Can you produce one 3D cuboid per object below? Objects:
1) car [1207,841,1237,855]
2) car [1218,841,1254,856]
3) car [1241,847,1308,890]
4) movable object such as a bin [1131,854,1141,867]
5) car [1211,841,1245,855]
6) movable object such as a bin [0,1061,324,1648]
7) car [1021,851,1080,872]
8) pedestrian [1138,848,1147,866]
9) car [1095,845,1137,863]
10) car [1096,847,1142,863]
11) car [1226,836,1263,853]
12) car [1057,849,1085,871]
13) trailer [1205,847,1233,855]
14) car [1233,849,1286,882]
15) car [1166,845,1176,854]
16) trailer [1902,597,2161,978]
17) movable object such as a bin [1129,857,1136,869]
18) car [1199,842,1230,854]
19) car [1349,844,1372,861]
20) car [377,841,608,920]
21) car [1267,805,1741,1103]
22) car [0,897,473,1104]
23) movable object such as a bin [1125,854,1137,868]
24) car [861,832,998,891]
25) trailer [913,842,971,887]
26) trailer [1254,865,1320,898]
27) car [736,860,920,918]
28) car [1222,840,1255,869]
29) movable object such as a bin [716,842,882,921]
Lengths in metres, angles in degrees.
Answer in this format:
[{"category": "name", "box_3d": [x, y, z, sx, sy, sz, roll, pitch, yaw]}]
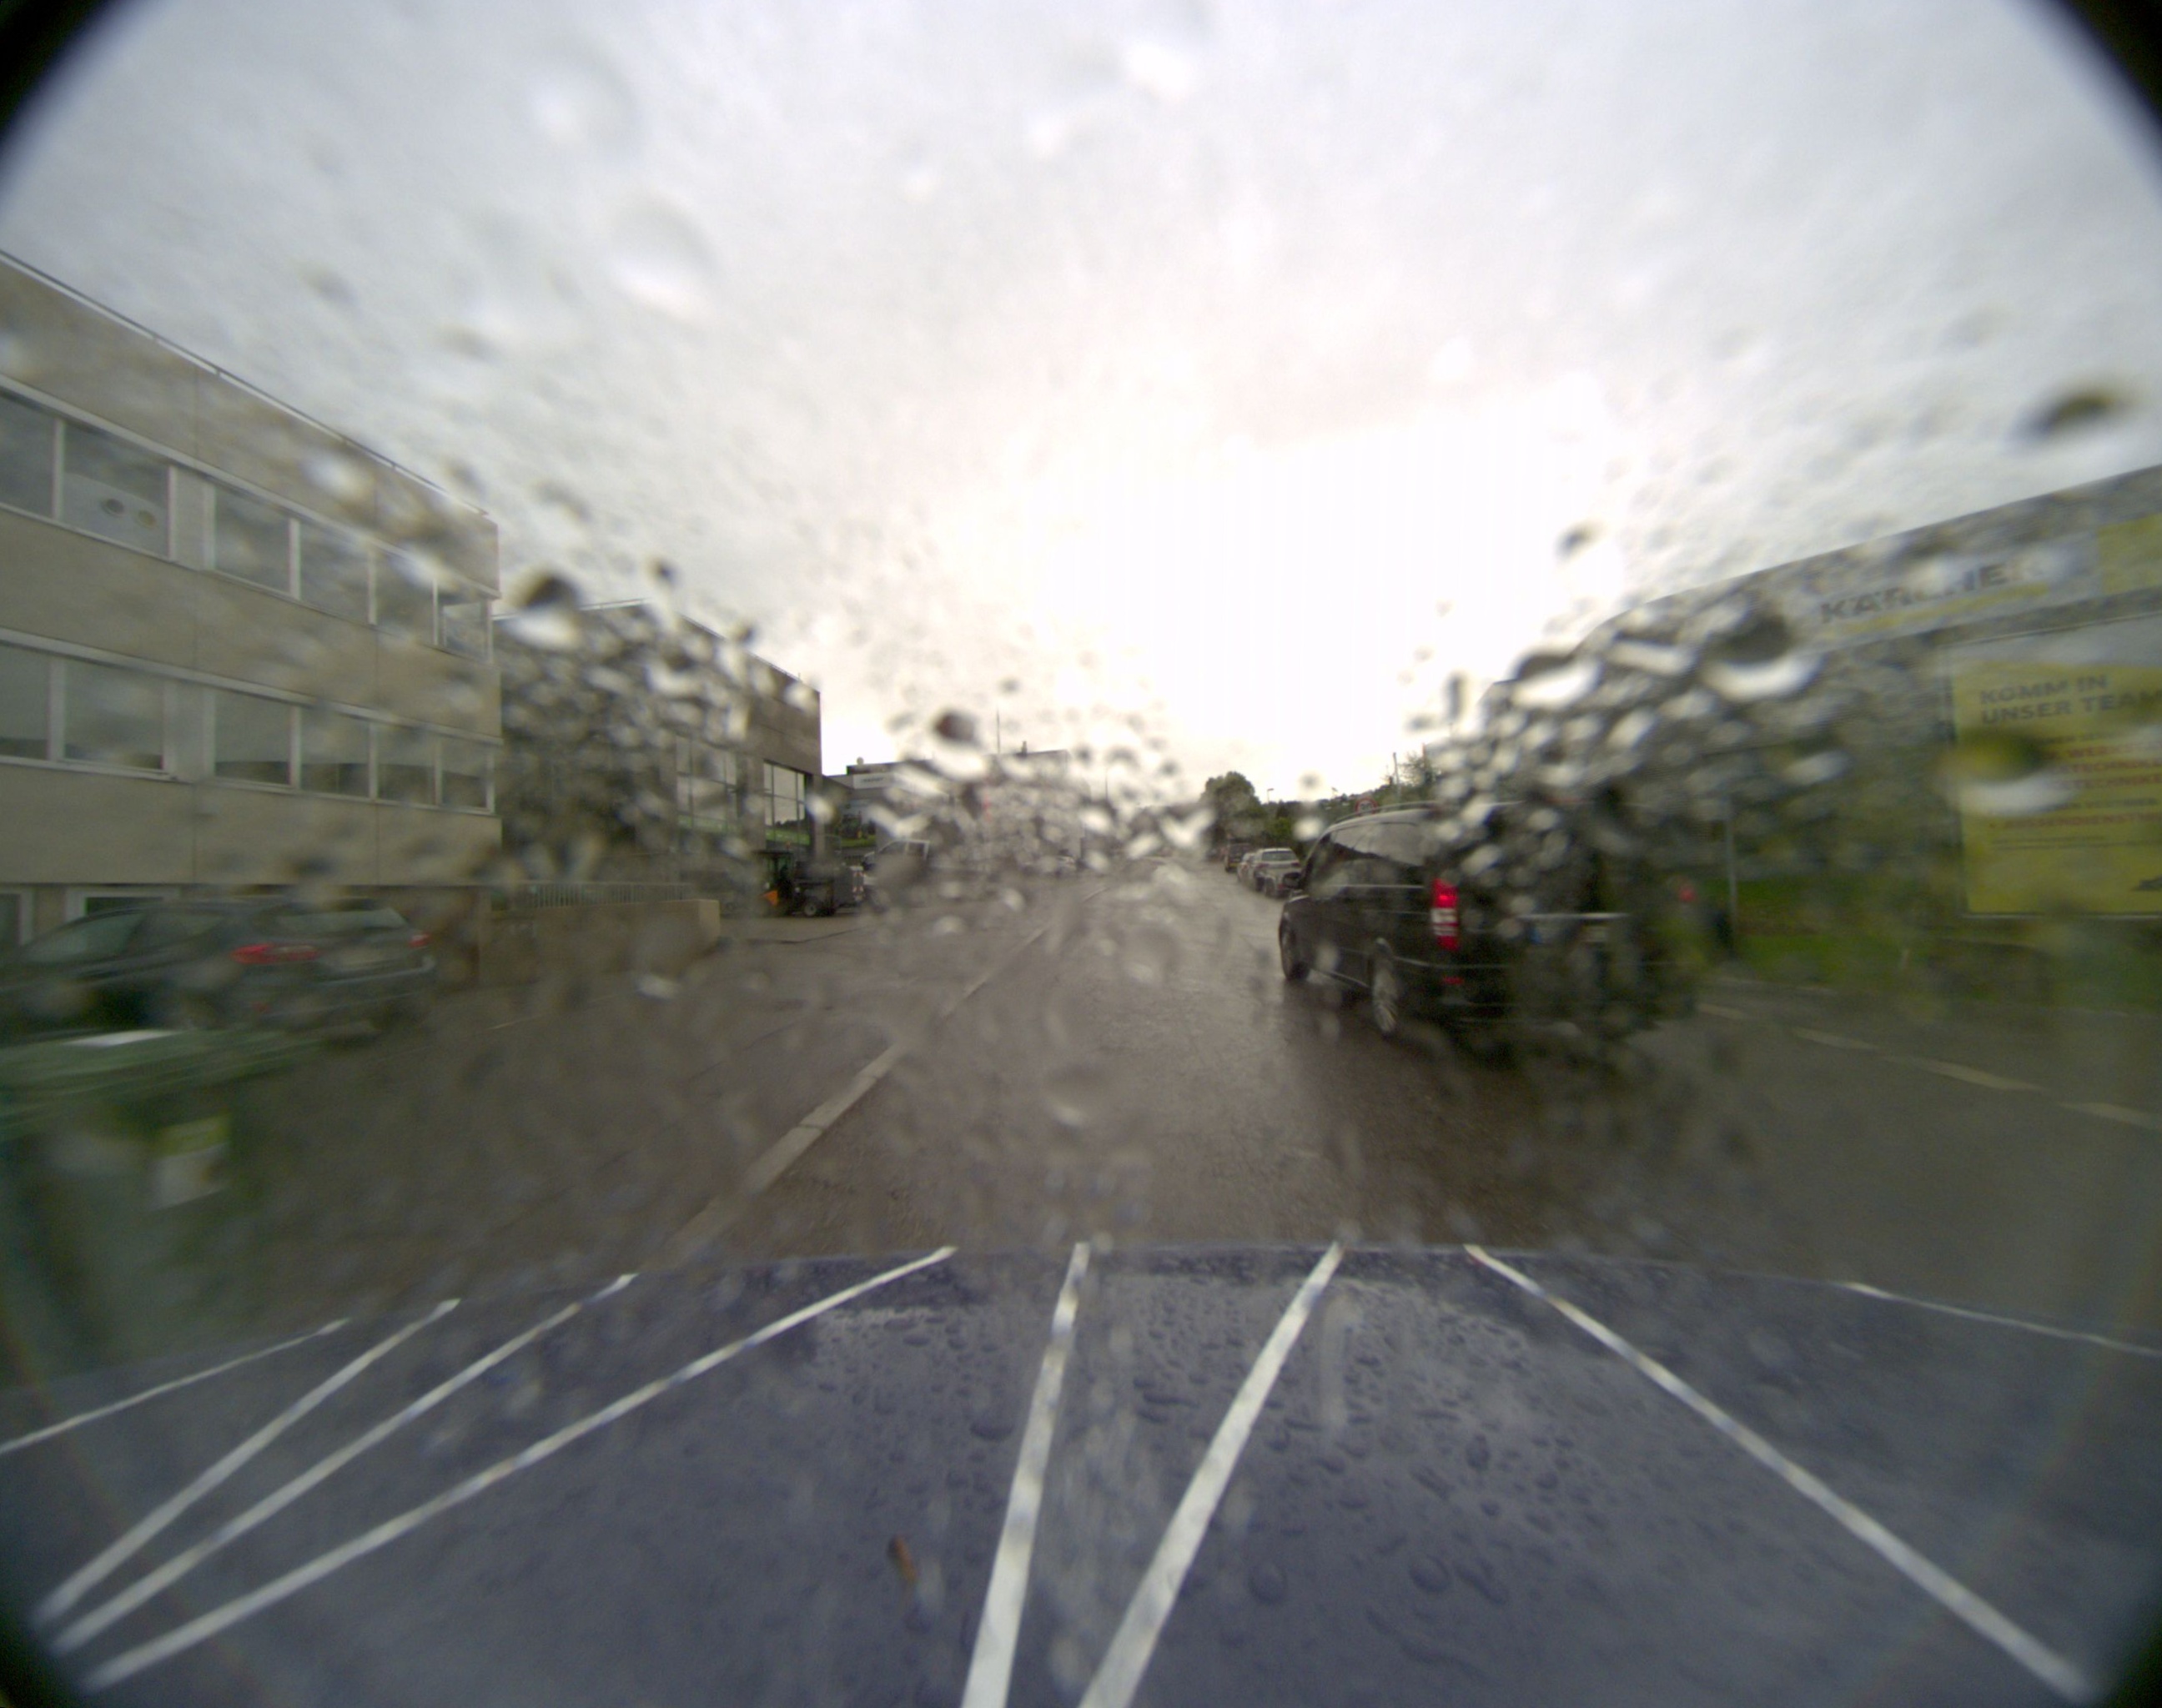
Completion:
[{"category": "car", "box_3d": [20.851, -0.921, 112.429, 4.082, 1.712, 2.026, -4, 1, 6]}, {"category": "car", "box_3d": [20.209, -0.752, 99.143, 4.206, 1.712, 1.755, -2, 1, 2]}, {"category": "car", "box_3d": [7.934, 0.536, 31.577, 1.961, 1.568, 4.841, -2, 1, 6]}, {"category": "movable object such as a bin", "box_3d": [4.625, 0.562, 64.374, 0.745, 1.060, 0.637, -3, 1, 9]}, {"category": "car", "box_3d": [21.185, -0.832, 109.609, 4.628, 1.581, 1.806, -4, 1, 5]}, {"category": "movable object such as a bin", "box_3d": [-2.742, 1.185, 1.968, 0.808, 1.086, 0.709, -2, 0, 2]}, {"category": "car", "box_3d": [-2.251, 0.560, 57.190, 4.128, 1.565, 2.004, 0, 2, 7]}, {"category": "pedestrian", "box_3d": [5.956, 0.276, 73.640, 0.738, 1.757, 0.809, -3, 1, 9]}, {"category": "car", "box_3d": [3.778, 0.001, 82.280, 4.349, 1.763, 2.090, -2, 1, 6]}, {"category": "car", "box_3d": [3.968, 0.123, 79.157, 4.606, 1.530, 2.080, -1, 1, 7]}, {"category": "car", "box_3d": [20.250, -1.228, 94.133, 4.307, 1.895, 1.863, -2, 1, 10]}, {"category": "car", "box_3d": [-0.810, 0.506, 66.596, 1.752, 1.740, 4.475, -2, 1, 7]}, {"category": "trailer", "box_3d": [20.893, -0.469, 115.097, 3.950, 0.955, 2.000, -4, 0, 3]}, {"category": "car", "box_3d": [8.809, 0.531, 37.899, 1.960, 1.452, 5.250, -2, 0, 7]}, {"category": "car", "box_3d": [17.183, -0.847, 145.937, 1.751, 1.500, 3.936, -3, 1, 6]}, {"category": "trailer", "box_3d": [12.753, -0.753, 8.900, 2.010, 4.179, 4.175, -3, 1, -44]}, {"category": "movable object such as a bin", "box_3d": [4.280, 0.717, 63.548, 0.473, 0.961, 0.514, -3, 1, 9]}, {"category": "car", "box_3d": [21.096, -0.978, 120.220, 4.378, 1.712, 2.044, -2, 1, 1]}, {"category": "car", "box_3d": [32.398, -0.136, 87.983, 1.995, 1.742, 4.393, -2, -3, 27]}, {"category": "car", "box_3d": [-15.846, 0.734, 20.593, 4.900, 1.839, 1.901, 2, -3, 7]}, {"category": "car", "box_3d": [3.304, 0.637, 7.367, 1.889, 1.875, 5.072, -1, 0, 2]}, {"category": "car", "box_3d": [-8.208, 1.273, 6.947, 3.903, 1.375, 1.821, -4, 1, 7]}, {"category": "movable object such as a bin", "box_3d": [4.138, 0.598, 62.453, 0.730, 1.107, 0.705, -3, 1, 23]}, {"category": "car", "box_3d": [-6.575, 0.289, 33.211, 5.306, 2.002, 2.223, 5, 2, 9]}, {"category": "trailer", "box_3d": [-7.920, 0.598, 43.800, 1.890, 2.402, 4.311, -2, -1, 9]}, {"category": "trailer", "box_3d": [7.309, 0.950, 27.249, 1.683, 0.883, 3.898, -2, 1, 6]}, {"category": "car", "box_3d": [-7.898, 1.075, 23.919, 5.101, 1.604, 1.926, -2, 0, 7]}, {"category": "car", "box_3d": [10.807, 0.023, 52.404, 1.919, 1.821, 4.850, -3, 1, 9]}, {"category": "movable object such as a bin", "box_3d": [-8.148, 0.789, 22.102, 4.262, 2.098, 1.477, -2, 1, 8]}]
